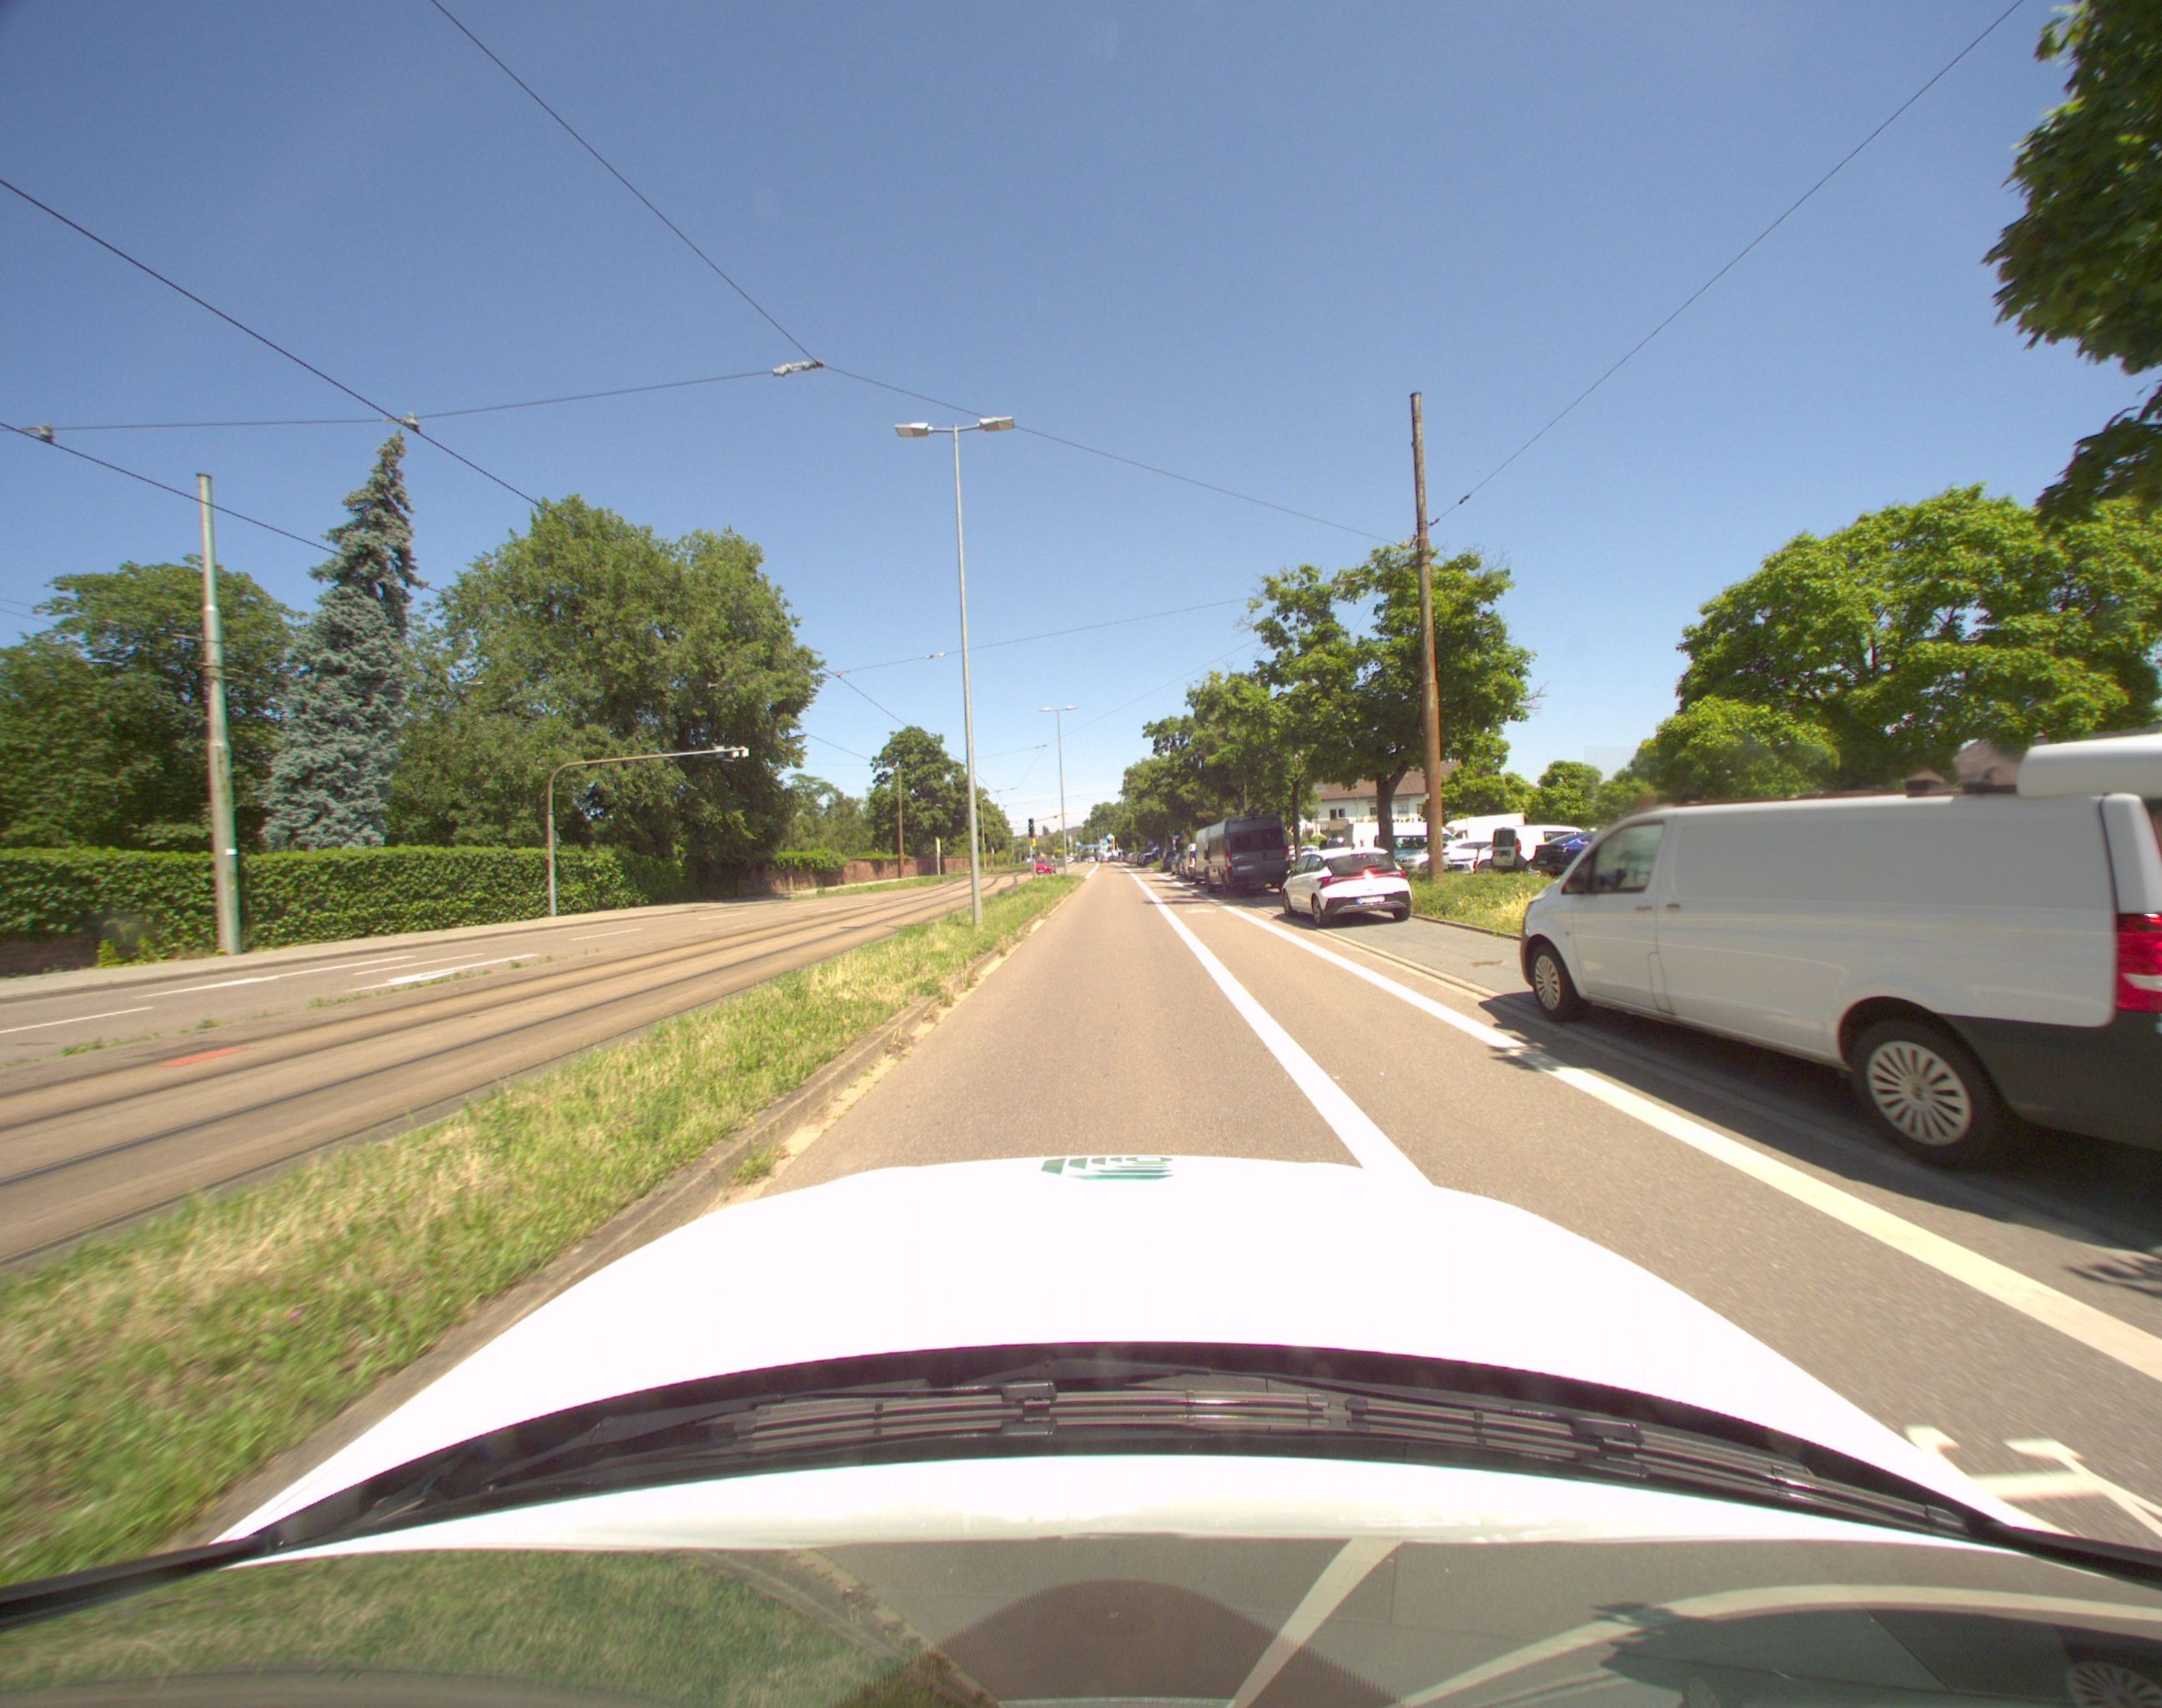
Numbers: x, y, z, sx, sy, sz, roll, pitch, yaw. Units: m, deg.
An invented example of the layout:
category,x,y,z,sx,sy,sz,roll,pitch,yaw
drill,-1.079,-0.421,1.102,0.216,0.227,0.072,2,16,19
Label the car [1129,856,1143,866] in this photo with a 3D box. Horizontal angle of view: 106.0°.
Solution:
category,x,y,z,sx,sy,sz,roll,pitch,yaw
car,9.531,1.176,140.785,1.835,1.529,4.963,-5,0,-1

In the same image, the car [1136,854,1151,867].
category,x,y,z,sx,sy,sz,roll,pitch,yaw
car,8.720,0.865,113.862,1.833,1.706,4.630,-5,0,3

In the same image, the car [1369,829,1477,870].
category,x,y,z,sx,sy,sz,roll,pitch,yaw
car,16.371,-0.217,39.134,4.396,1.909,1.952,-1,0,-3

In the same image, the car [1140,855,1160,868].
category,x,y,z,sx,sy,sz,roll,pitch,yaw
car,8.115,0.877,96.261,1.835,1.436,4.823,-5,0,0

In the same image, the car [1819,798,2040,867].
category,x,y,z,sx,sy,sz,roll,pitch,yaw
car,28.500,-0.690,27.505,5.076,1.876,2.096,-4,0,2

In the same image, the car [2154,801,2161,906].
category,x,y,z,sx,sy,sz,roll,pitch,yaw
car,15.678,-0.029,9.566,3.873,1.325,1.728,-1,0,0

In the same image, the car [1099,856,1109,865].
category,x,y,z,sx,sy,sz,roll,pitch,yaw
car,4.698,1.303,168.241,1.751,1.630,4.321,-5,0,-2

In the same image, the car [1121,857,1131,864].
category,x,y,z,sx,sy,sz,roll,pitch,yaw
car,9.854,1.379,178.815,1.703,1.492,5.034,-5,0,-2

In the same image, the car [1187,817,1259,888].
category,x,y,z,sx,sy,sz,roll,pitch,yaw
car,6.031,-0.043,35.334,1.990,2.636,6.145,-5,0,2

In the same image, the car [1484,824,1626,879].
category,x,y,z,sx,sy,sz,roll,pitch,yaw
car,16.288,-0.090,28.112,3.770,1.784,1.952,-1,0,-3

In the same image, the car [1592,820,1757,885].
category,x,y,z,sx,sy,sz,roll,pitch,yaw
car,16.530,-0.031,22.805,3.359,1.717,1.729,-1,0,2

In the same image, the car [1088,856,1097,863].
category,x,y,z,sx,sy,sz,roll,pitch,yaw
car,2.969,1.443,211.799,1.753,1.630,4.315,-5,0,-6

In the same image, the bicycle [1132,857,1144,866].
category,x,y,z,sx,sy,sz,roll,pitch,yaw
bicycle,9.392,1.188,133.737,1.765,1.228,0.685,-7,-1,5

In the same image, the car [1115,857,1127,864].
category,x,y,z,sx,sy,sz,roll,pitch,yaw
car,9.319,1.482,190.010,1.706,1.562,4.312,-5,0,-8

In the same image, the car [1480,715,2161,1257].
category,x,y,z,sx,sy,sz,roll,pitch,yaw
car,4.807,0.395,5.378,1.872,1.916,5.127,-5,0,2

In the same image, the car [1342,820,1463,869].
category,x,y,z,sx,sy,sz,roll,pitch,yaw
car,16.529,-0.472,42.072,5.468,2.459,2.096,-1,0,2

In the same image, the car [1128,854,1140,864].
category,x,y,z,sx,sy,sz,roll,pitch,yaw
car,10.105,0.983,155.762,1.835,1.794,4.353,-5,0,0

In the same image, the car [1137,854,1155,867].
category,x,y,z,sx,sy,sz,roll,pitch,yaw
car,8.635,0.884,108.224,1.835,1.529,4.352,-5,0,-1

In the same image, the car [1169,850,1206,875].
category,x,y,z,sx,sy,sz,roll,pitch,yaw
car,6.840,0.547,52.728,1.707,1.418,4.707,-5,0,0

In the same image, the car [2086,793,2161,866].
category,x,y,z,sx,sy,sz,roll,pitch,yaw
car,28.648,-0.767,19.988,5.134,1.752,2.096,-4,0,2

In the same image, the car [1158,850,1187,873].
category,x,y,z,sx,sy,sz,roll,pitch,yaw
car,7.218,0.588,64.626,1.706,1.632,4.709,-5,-1,1

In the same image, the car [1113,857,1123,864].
category,x,y,z,sx,sy,sz,roll,pitch,yaw
car,8.975,1.549,195.934,1.705,1.562,4.314,-5,0,-6

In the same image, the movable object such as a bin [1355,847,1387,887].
category,x,y,z,sx,sy,sz,roll,pitch,yaw
movable object such as a bin,10.195,0.441,28.672,0.789,1.352,0.889,-3,0,1

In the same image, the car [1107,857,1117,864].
category,x,y,z,sx,sy,sz,roll,pitch,yaw
car,7.887,1.647,205.933,1.754,1.630,4.312,-5,0,-7

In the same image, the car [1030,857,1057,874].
category,x,y,z,sx,sy,sz,roll,pitch,yaw
car,-3.418,1.062,74.316,1.697,1.414,4.290,-2,0,7

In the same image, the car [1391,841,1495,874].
category,x,y,z,sx,sy,sz,roll,pitch,yaw
car,16.018,0.164,36.173,3.877,1.406,1.726,-1,0,-3

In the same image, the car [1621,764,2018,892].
category,x,y,z,sx,sy,sz,roll,pitch,yaw
car,15.685,-0.501,17.664,6.311,2.529,2.266,-1,0,4

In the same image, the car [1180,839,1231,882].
category,x,y,z,sx,sy,sz,roll,pitch,yaw
car,6.362,0.314,42.029,1.989,1.878,5.281,-5,0,3

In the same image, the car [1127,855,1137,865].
category,x,y,z,sx,sy,sz,roll,pitch,yaw
car,10.158,1.181,161.947,1.834,1.694,4.780,-5,0,2

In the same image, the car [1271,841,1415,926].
category,x,y,z,sx,sy,sz,roll,pitch,yaw
car,5.326,0.556,17.128,1.715,1.428,4.211,-5,0,2

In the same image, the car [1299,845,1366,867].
category,x,y,z,sx,sy,sz,roll,pitch,yaw
car,17.040,0.137,55.377,4.008,1.491,1.770,-1,0,0

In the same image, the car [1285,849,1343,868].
category,x,y,z,sx,sy,sz,roll,pitch,yaw
car,17.310,0.327,60.687,3.844,1.358,1.771,-1,0,2

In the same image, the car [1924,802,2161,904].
category,x,y,z,sx,sy,sz,roll,pitch,yaw
car,15.184,-0.025,12.037,3.879,1.380,1.725,-1,0,-5

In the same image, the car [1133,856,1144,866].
category,x,y,z,sx,sy,sz,roll,pitch,yaw
car,9.605,1.128,135.773,1.513,1.529,3.818,-5,0,2

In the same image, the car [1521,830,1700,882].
category,x,y,z,sx,sy,sz,roll,pitch,yaw
car,16.484,0.066,25.513,4.394,1.505,1.953,-1,0,-2

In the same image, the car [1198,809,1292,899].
category,x,y,z,sx,sy,sz,roll,pitch,yaw
car,5.554,0.001,28.404,1.990,2.636,6.080,-5,0,2

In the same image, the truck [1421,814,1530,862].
category,x,y,z,sx,sy,sz,roll,pitch,yaw
truck,30.035,-1.164,62.163,6.923,3.085,2.425,-4,-1,0

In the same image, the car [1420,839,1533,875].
category,x,y,z,sx,sy,sz,roll,pitch,yaw
car,16.389,0.122,33.843,3.874,1.406,1.727,-1,0,-1

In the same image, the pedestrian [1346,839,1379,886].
category,x,y,z,sx,sy,sz,roll,pitch,yaw
pedestrian,10.222,0.302,29.590,0.802,1.625,0.943,-3,0,2

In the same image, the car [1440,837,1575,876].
category,x,y,z,sx,sy,sz,roll,pitch,yaw
car,16.174,0.097,30.987,4.263,1.406,1.727,-1,0,-1

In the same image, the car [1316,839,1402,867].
category,x,y,z,sx,sy,sz,roll,pitch,yaw
car,17.017,-0.034,50.014,4.674,1.644,1.955,-1,0,2
